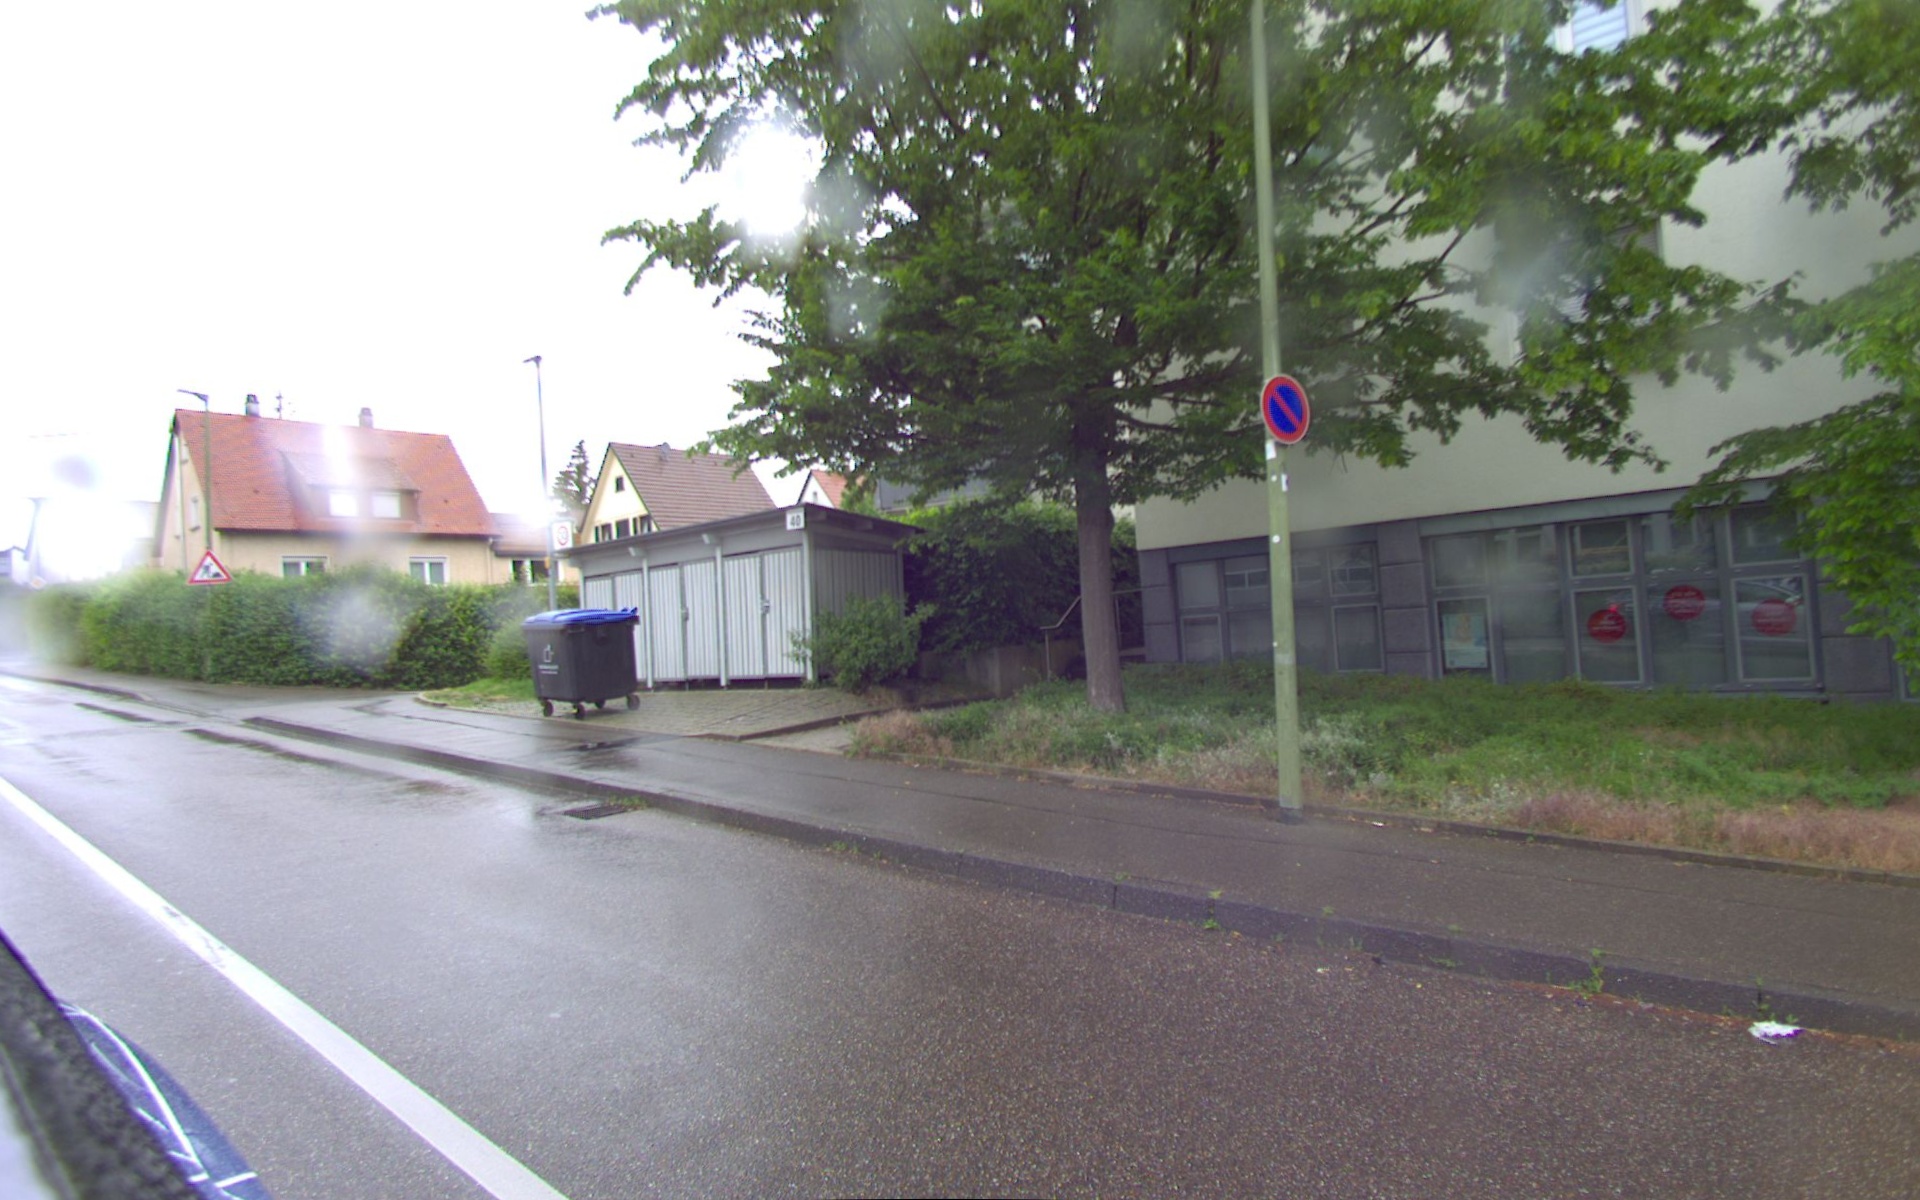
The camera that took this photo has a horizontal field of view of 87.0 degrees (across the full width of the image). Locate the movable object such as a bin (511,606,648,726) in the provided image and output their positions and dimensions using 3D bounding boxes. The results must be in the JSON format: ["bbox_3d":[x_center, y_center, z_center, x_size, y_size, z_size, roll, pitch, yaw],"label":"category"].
[{"bbox_3d":[-4.760,0.809,12.661,1.201,1.306,1.043,-3,3,41],"label":"movable object such as a bin"}]
